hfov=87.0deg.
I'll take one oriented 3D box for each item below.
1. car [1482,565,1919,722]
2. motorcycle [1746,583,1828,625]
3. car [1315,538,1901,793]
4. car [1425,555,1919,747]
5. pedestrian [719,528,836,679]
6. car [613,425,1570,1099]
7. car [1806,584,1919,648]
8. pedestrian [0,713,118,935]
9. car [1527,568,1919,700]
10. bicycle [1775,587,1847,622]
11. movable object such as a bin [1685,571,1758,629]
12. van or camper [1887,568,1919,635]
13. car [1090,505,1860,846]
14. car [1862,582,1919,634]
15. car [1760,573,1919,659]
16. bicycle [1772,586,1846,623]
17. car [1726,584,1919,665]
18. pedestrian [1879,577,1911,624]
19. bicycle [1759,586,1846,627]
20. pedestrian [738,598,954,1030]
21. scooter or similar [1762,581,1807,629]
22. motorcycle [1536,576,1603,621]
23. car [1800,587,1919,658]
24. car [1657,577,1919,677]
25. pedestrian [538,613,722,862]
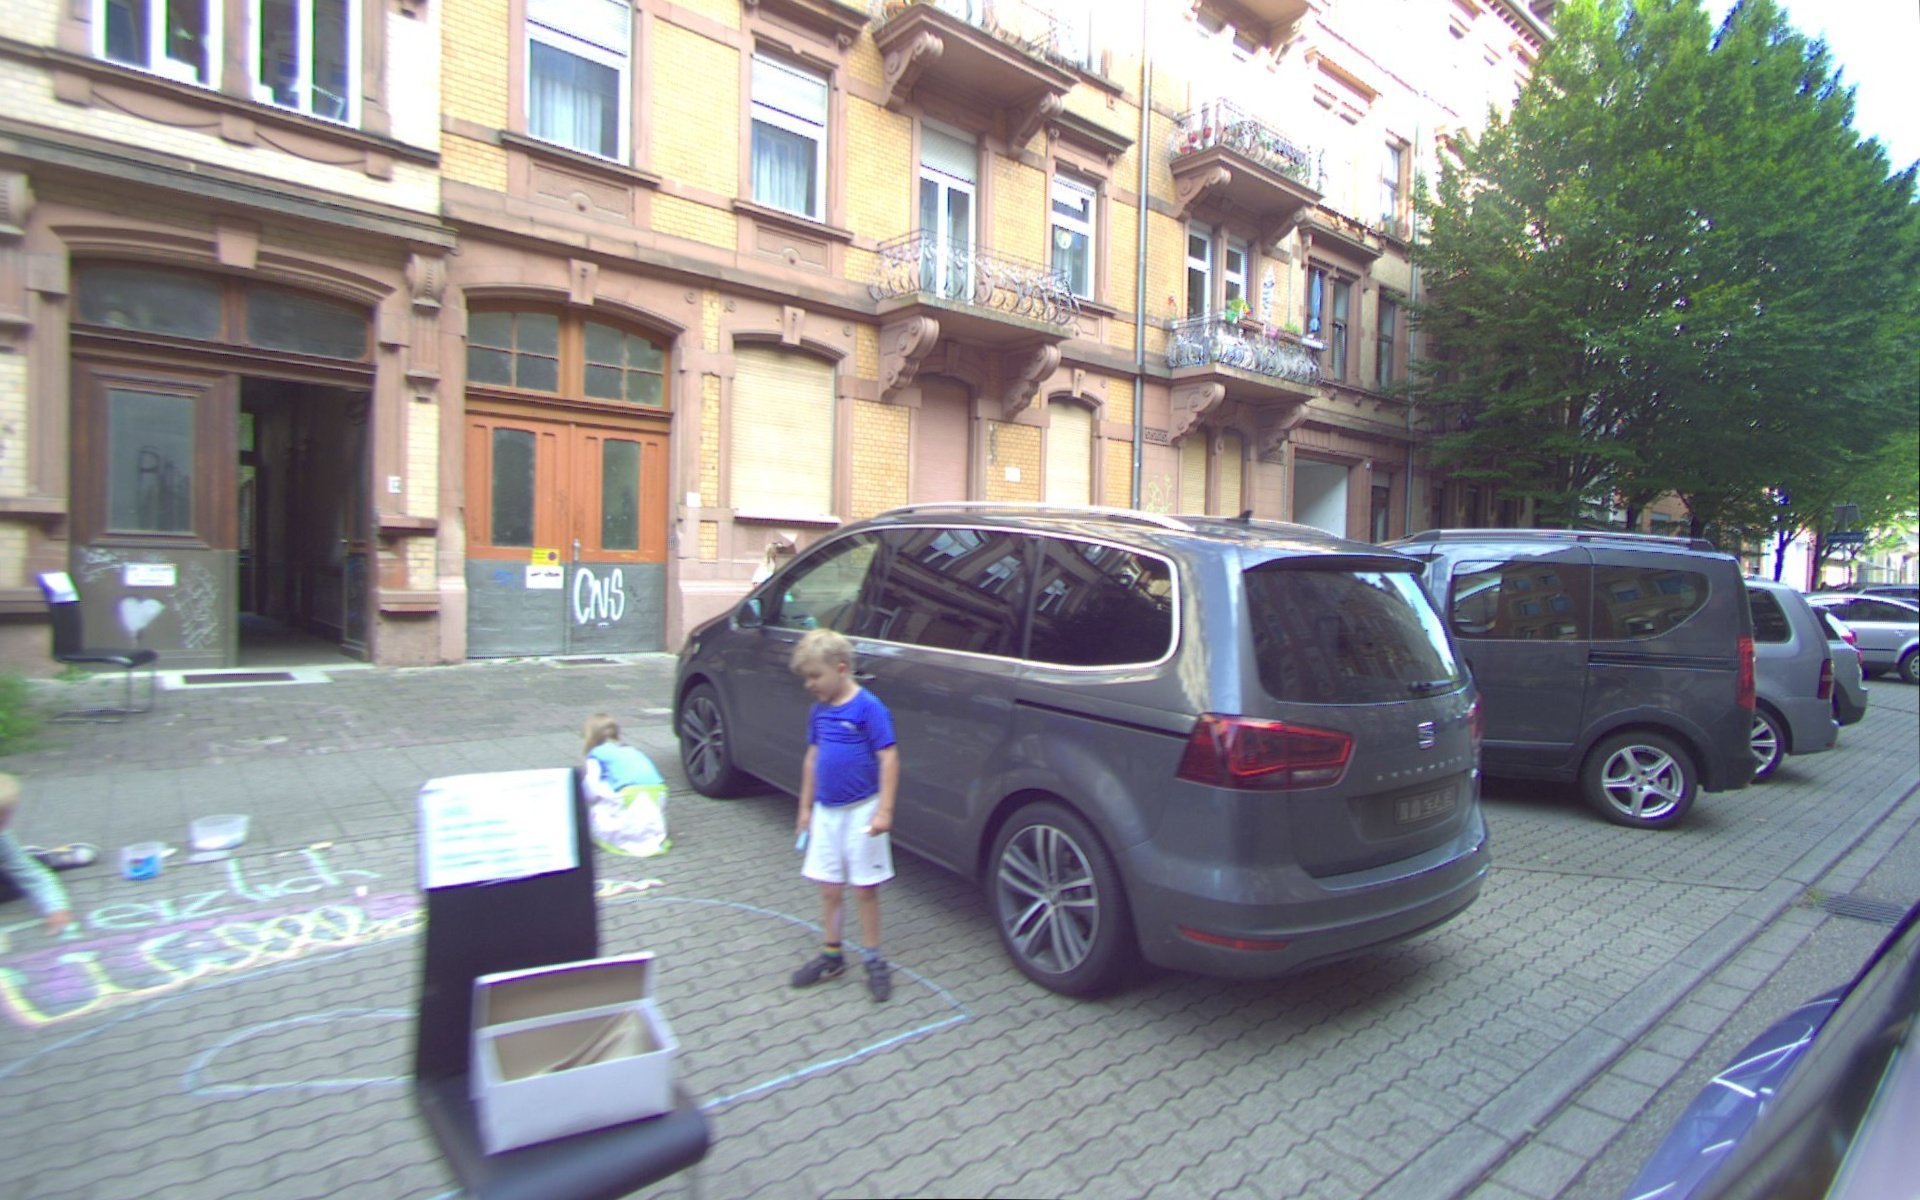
[{"bbox_3d":[8.971,0.438,12.702,3.949,1.468,1.727,4,4,18],"label":"car"},{"bbox_3d":[28.139,0.121,34.462,0.813,1.241,1.984,0,5,-41],"label":"motorcycle"},{"bbox_3d":[5.287,0.418,8.962,3.950,1.762,1.828,3,2,20],"label":"car"},{"bbox_3d":[7.285,0.421,10.660,3.941,1.567,1.862,4,2,13],"label":"car"},{"bbox_3d":[-1.947,0.017,10.766,0.928,1.515,0.799,3,2,43],"label":"pedestrian"},{"bbox_3d":[0.090,0.288,5.049,1.778,1.806,4.648,3,3,-41],"label":"car"},{"bbox_3d":[23.968,0.440,25.254,3.956,1.456,1.712,4,2,24],"label":"car"},{"bbox_3d":[-3.531,0.794,3.610,0.684,0.672,0.490,0,4,-22],"label":"pedestrian"},{"bbox_3d":[10.614,0.394,14.454,3.942,1.478,1.880,3,4,15],"label":"car"},{"bbox_3d":[31.246,0.149,37.176,0.607,1.115,1.895,0,5,-42],"label":"bicycle"},{"bbox_3d":[22.564,-0.013,29.991,1.144,1.476,1.375,0,9,-42],"label":"movable object such as a bin"},{"bbox_3d":[33.953,0.050,33.782,3.950,2.206,1.987,0,0,20],"label":"van or camper"},{"bbox_3d":[3.280,0.335,7.312,4.347,1.844,1.745,3,3,19],"label":"car"},{"bbox_3d":[32.095,0.364,32.105,4.746,1.562,1.860,3,3,19],"label":"car"},{"bbox_3d":[19.959,0.350,21.678,3.944,1.720,1.844,2,1,16],"label":"car"},{"bbox_3d":[30.802,0.146,36.738,0.607,1.133,1.895,0,5,-42],"label":"bicycle"},{"bbox_3d":[17.809,0.478,19.761,4.079,1.435,1.860,2,1,15],"label":"car"},{"bbox_3d":[36.568,0.019,39.564,0.937,1.759,0.753,0,5,-44],"label":"pedestrian"},{"bbox_3d":[27.884,0.200,33.517,0.806,1.108,2.026,0,6,-40],"label":"bicycle"},{"bbox_3d":[-0.375,0.657,3.397,0.467,1.266,0.505,6,5,26],"label":"pedestrian"},{"bbox_3d":[24.255,0.148,29.779,1.294,1.397,0.526,0,0,-26],"label":"scooter or similar"},{"bbox_3d":[17.053,-0.040,28.297,2.447,1.202,0.895,0,0,-41],"label":"motorcycle"},{"bbox_3d":[22.249,0.496,23.266,4.064,1.539,1.837,0,1,14],"label":"car"},{"bbox_3d":[15.227,0.460,17.712,4.552,1.469,1.783,3,2,19],"label":"car"},{"bbox_3d":[-1.585,0.603,4.836,0.674,1.033,0.641,0,2,-35],"label":"pedestrian"}]
